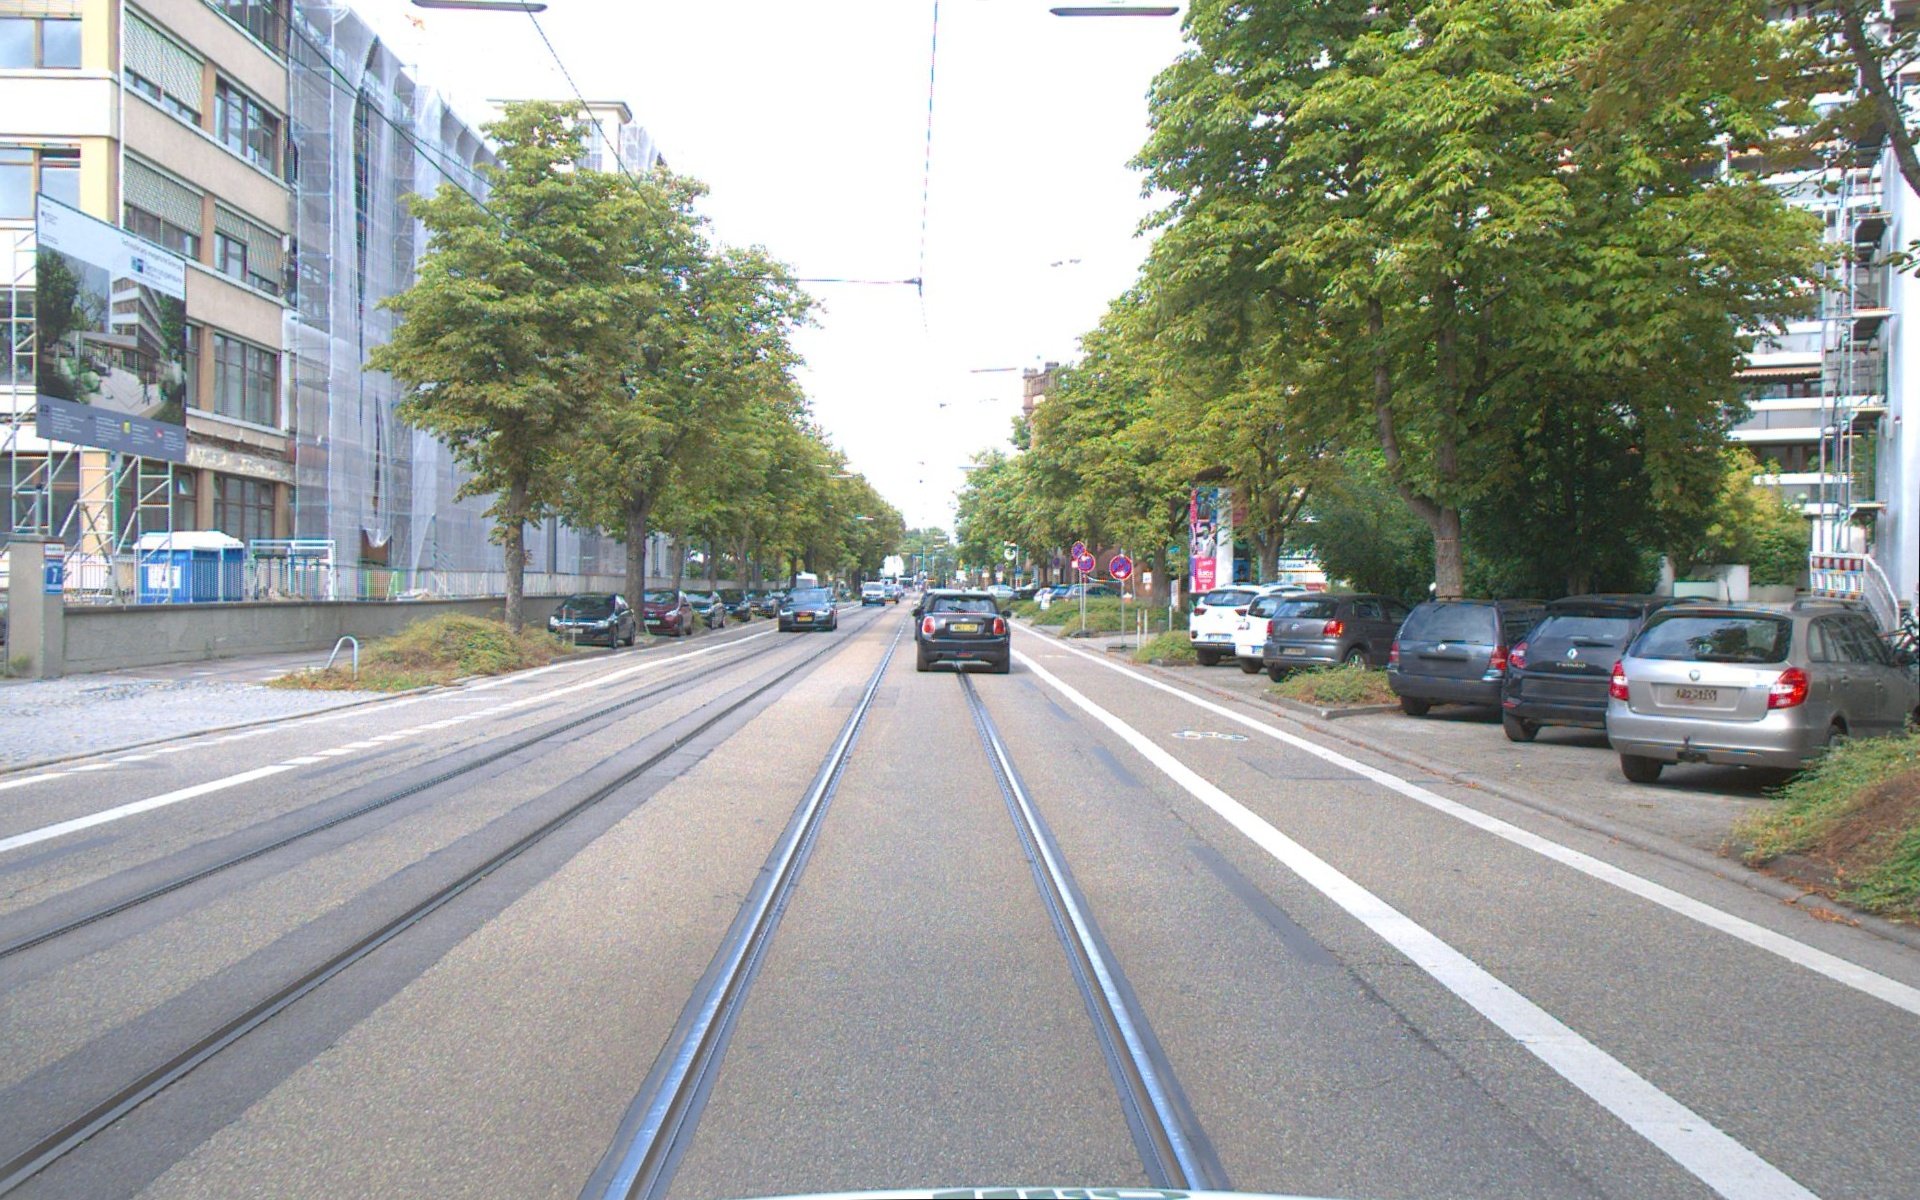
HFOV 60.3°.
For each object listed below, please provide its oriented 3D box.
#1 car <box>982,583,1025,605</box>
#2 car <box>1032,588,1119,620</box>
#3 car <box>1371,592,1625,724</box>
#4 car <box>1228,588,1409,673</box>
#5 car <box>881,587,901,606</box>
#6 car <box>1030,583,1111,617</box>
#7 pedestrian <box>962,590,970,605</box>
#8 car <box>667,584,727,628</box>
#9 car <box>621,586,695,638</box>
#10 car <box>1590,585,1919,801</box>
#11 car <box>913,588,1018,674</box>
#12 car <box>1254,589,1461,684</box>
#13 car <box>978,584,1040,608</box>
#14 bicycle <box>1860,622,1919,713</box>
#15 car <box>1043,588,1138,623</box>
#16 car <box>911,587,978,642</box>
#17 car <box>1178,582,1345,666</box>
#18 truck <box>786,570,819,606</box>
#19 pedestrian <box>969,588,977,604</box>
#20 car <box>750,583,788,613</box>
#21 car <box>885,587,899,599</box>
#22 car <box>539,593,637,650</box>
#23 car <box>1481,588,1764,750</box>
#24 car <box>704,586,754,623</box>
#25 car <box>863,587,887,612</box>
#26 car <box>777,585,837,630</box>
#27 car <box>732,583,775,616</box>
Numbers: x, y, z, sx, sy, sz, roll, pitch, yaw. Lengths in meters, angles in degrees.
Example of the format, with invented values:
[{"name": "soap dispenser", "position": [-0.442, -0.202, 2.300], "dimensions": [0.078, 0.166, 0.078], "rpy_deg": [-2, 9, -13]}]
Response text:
[{"name": "car", "position": [4.119, -0.565, 156.383], "dimensions": [3.909, 1.944, 1.998], "rpy_deg": [2, 0, -5]}, {"name": "car", "position": [5.521, 0.168, 79.192], "dimensions": [3.909, 1.449, 1.883], "rpy_deg": [1, 0, -5]}, {"name": "car", "position": [6.801, 0.678, 20.729], "dimensions": [1.612, 1.484, 3.715], "rpy_deg": [1, 0, 43]}, {"name": "car", "position": [6.658, 0.541, 30.604], "dimensions": [3.416, 1.468, 1.537], "rpy_deg": [0, 0, -41]}, {"name": "car", "position": [-6.209, -0.315, 148.423], "dimensions": [1.766, 1.650, 4.483], "rpy_deg": [0, 0, -2]}, {"name": "car", "position": [5.619, 0.010, 84.600], "dimensions": [3.909, 1.656, 1.883], "rpy_deg": [1, 0, -5]}, {"name": "pedestrian", "position": [0.694, -0.277, 178.012], "dimensions": [0.711, 1.674, 0.767], "rpy_deg": [2, 0, 8]}, {"name": "car", "position": [-9.890, 0.199, 62.394], "dimensions": [1.766, 1.611, 4.029], "rpy_deg": [0, 0, -2]}, {"name": "car", "position": [-9.724, 0.374, 53.527], "dimensions": [1.766, 1.611, 4.029], "rpy_deg": [0, 0, -2]}, {"name": "car", "position": [6.842, 0.692, 13.902], "dimensions": [1.612, 1.549, 3.715], "rpy_deg": [1, 0, 43]}, {"name": "car", "position": [0.044, 0.519, 30.692], "dimensions": [1.757, 1.448, 3.999], "rpy_deg": [1, 0, -2]}, {"name": "car", "position": [6.631, 0.575, 27.455], "dimensions": [3.503, 1.468, 1.600], "rpy_deg": [0, 0, -41]}, {"name": "car", "position": [3.253, -0.267, 110.164], "dimensions": [3.909, 1.534, 1.883], "rpy_deg": [1, 0, -5]}, {"name": "bicycle", "position": [12.578, 0.857, 21.065], "dimensions": [1.929, 1.148, 0.538], "rpy_deg": [-1, -1, 29]}, {"name": "car", "position": [5.683, 0.246, 72.294], "dimensions": [3.909, 1.449, 1.883], "rpy_deg": [1, 0, -5]}, {"name": "car", "position": [-0.497, 0.403, 48.906], "dimensions": [1.758, 1.495, 3.998], "rpy_deg": [2, 0, -3]}, {"name": "car", "position": [6.155, 0.463, 33.620], "dimensions": [3.416, 1.600, 1.537], "rpy_deg": [1, 0, -41]}, {"name": "truck", "position": [-11.089, -0.837, 116.798], "dimensions": [2.029, 2.513, 4.897], "rpy_deg": [0, 0, -2]}, {"name": "pedestrian", "position": [1.410, -0.461, 183.314], "dimensions": [0.711, 1.674, 0.767], "rpy_deg": [2, 0, 8]}, {"name": "car", "position": [-10.610, -0.142, 92.148], "dimensions": [1.766, 1.611, 4.029], "rpy_deg": [0, 0, -2]}, {"name": "car", "position": [-8.906, -0.921, 216.004], "dimensions": [1.766, 1.650, 4.483], "rpy_deg": [0, 0, -2]}, {"name": "car", "position": [-9.639, 0.515, 43.135], "dimensions": [1.766, 1.398, 4.029], "rpy_deg": [0, 0, -2]}, {"name": "car", "position": [7.254, 0.688, 17.937], "dimensions": [1.612, 1.549, 3.715], "rpy_deg": [1, 0, 43]}, {"name": "car", "position": [-10.180, 0.183, 73.019], "dimensions": [1.766, 1.611, 4.029], "rpy_deg": [0, 0, -2]}, {"name": "car", "position": [-6.592, -0.049, 129.011], "dimensions": [1.766, 1.855, 4.483], "rpy_deg": [0, 0, -2]}, {"name": "car", "position": [-5.259, 0.226, 57.228], "dimensions": [1.798, 1.473, 4.552], "rpy_deg": [1, 0, -2]}, {"name": "car", "position": [-10.358, -0.047, 83.175], "dimensions": [1.766, 1.611, 4.029], "rpy_deg": [0, 0, -2]}]
